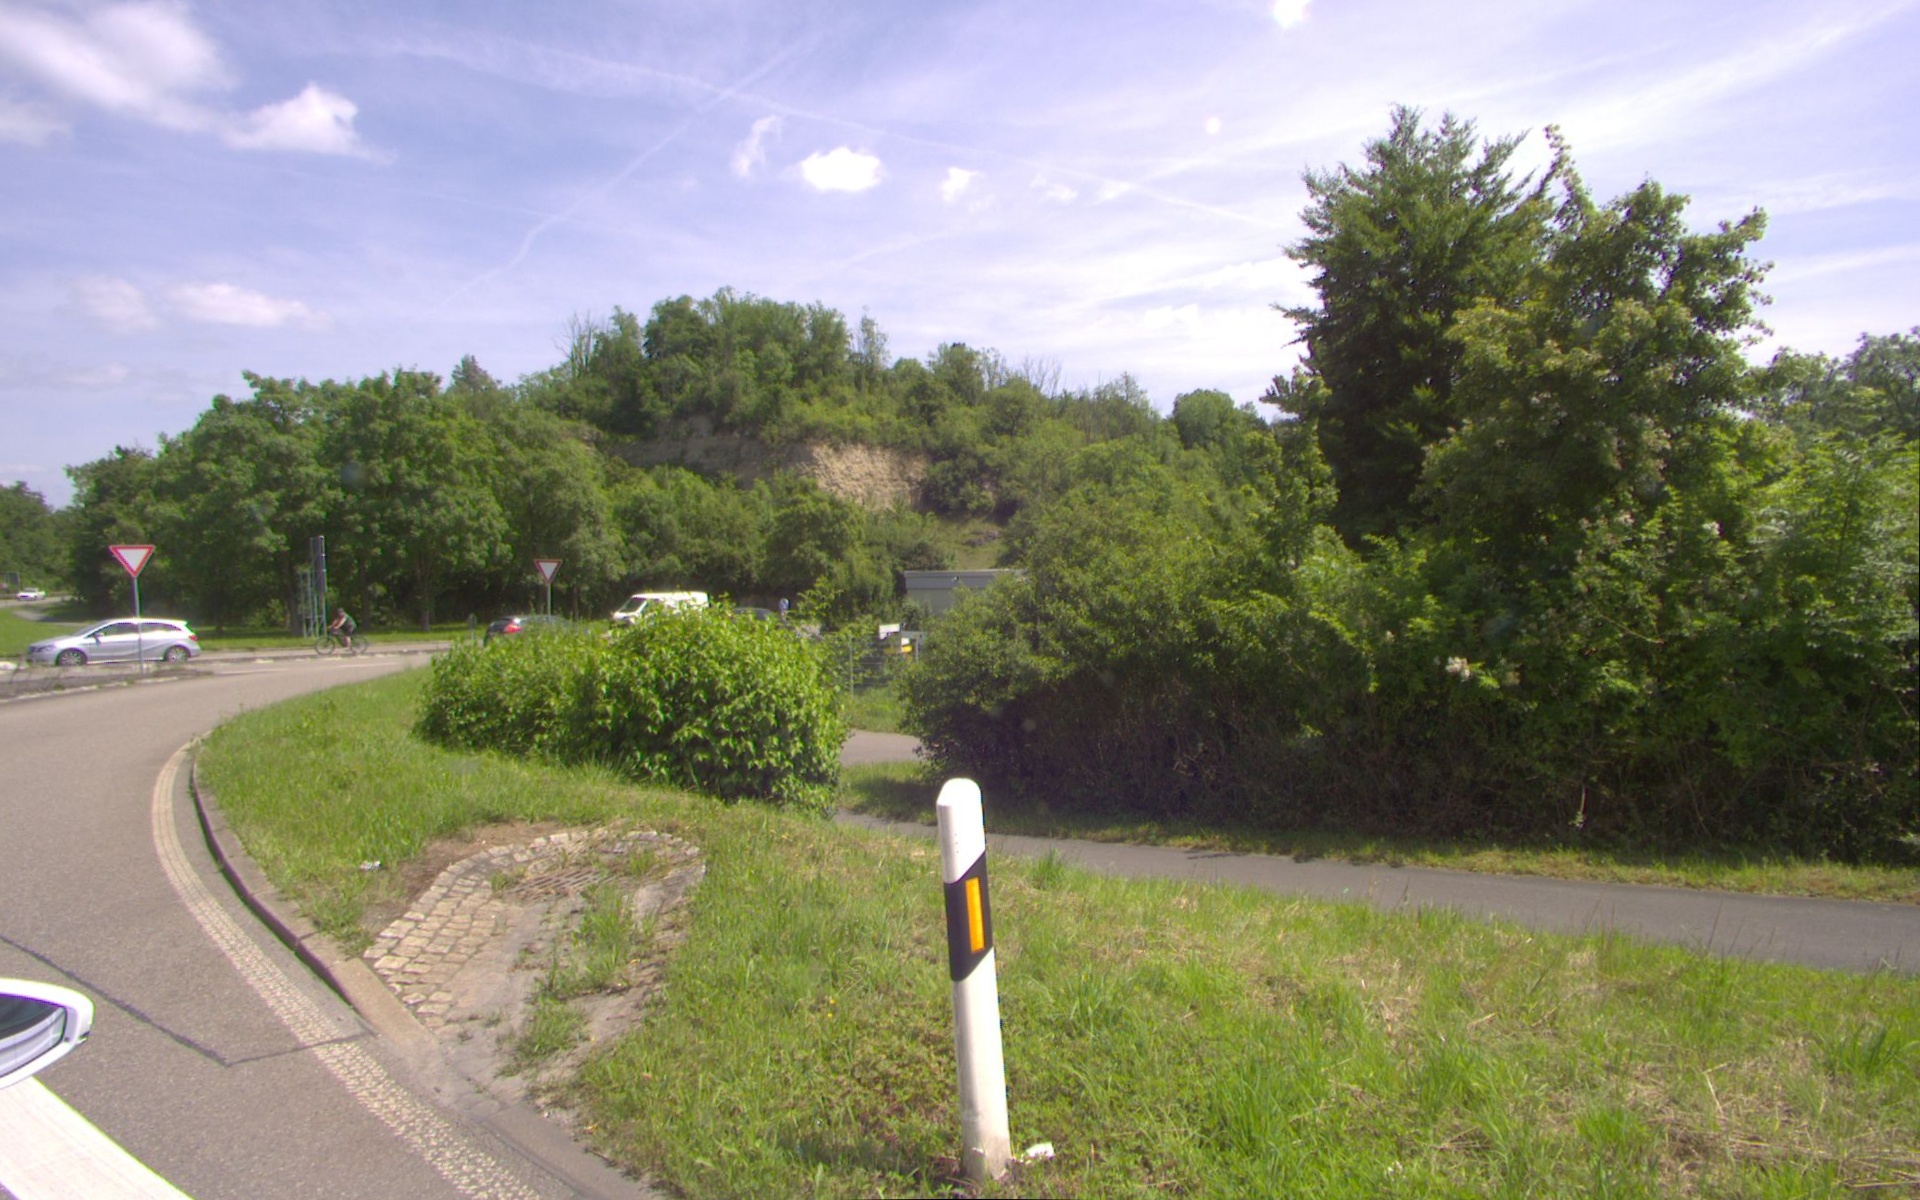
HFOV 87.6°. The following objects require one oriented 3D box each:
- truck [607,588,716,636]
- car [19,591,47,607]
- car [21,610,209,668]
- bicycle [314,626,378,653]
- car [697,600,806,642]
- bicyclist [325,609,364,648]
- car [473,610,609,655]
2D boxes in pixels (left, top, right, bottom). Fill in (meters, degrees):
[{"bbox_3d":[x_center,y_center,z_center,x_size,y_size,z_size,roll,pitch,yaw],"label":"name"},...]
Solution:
[{"bbox_3d":[-15.429,0.655,51.916,1.980,2.324,5.117,-3,-3,43],"label":"truck"},{"bbox_3d":[-121.853,-0.158,131.647,1.972,2.040,3.977,0,0,-32],"label":"car"},{"bbox_3d":[-27.653,1.275,32.882,1.975,1.740,4.413,-3,-3,37],"label":"car"},{"bbox_3d":[-23.725,1.520,38.744,0.785,1.008,1.987,-3,-3,29],"label":"bicycle"},{"bbox_3d":[-9.615,0.997,46.532,1.974,1.807,4.914,-3,-3,34],"label":"car"},{"bbox_3d":[-23.778,1.109,38.689,0.784,1.466,1.004,-3,-2,30],"label":"bicyclist"},{"bbox_3d":[-15.398,1.205,36.986,1.974,1.509,4.233,-3,-3,34],"label":"car"}]
